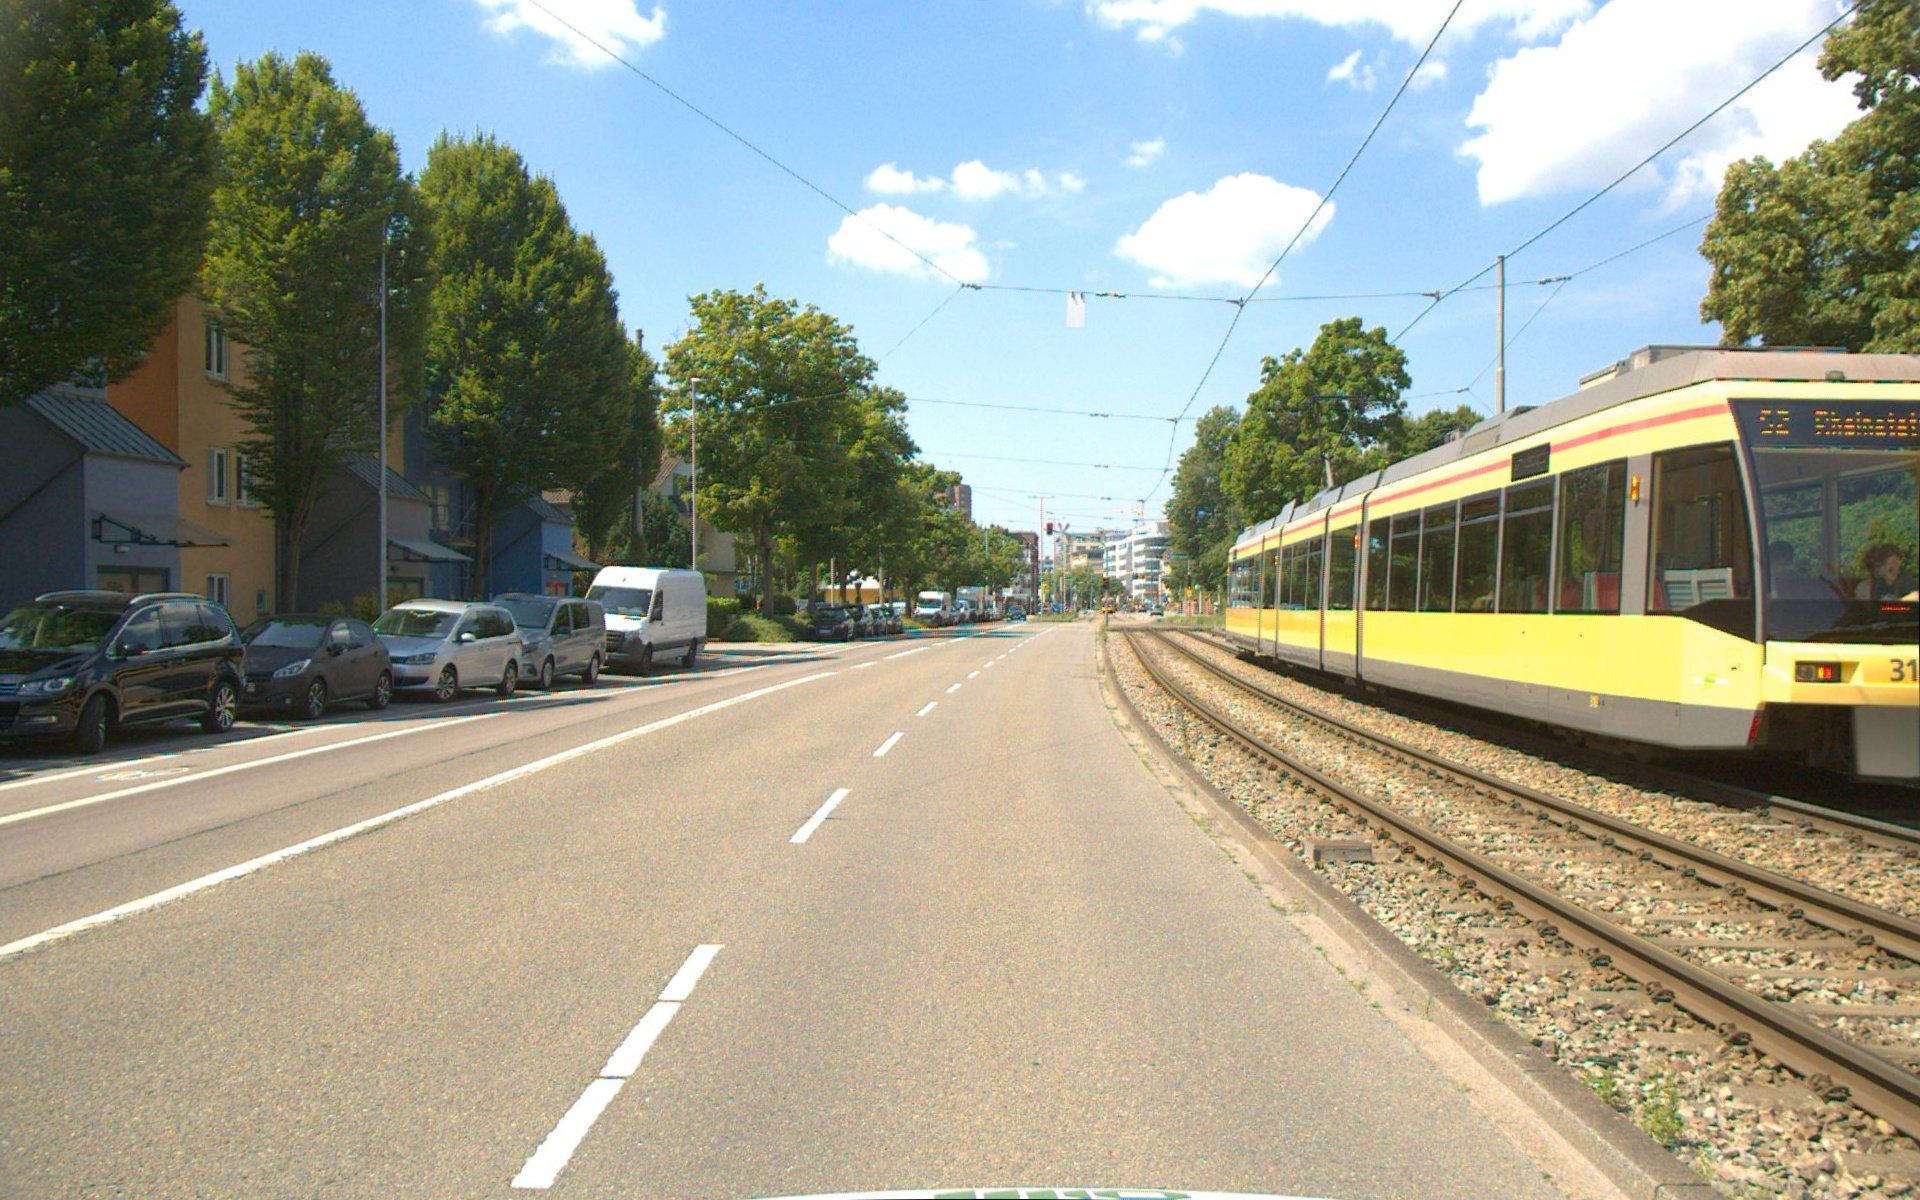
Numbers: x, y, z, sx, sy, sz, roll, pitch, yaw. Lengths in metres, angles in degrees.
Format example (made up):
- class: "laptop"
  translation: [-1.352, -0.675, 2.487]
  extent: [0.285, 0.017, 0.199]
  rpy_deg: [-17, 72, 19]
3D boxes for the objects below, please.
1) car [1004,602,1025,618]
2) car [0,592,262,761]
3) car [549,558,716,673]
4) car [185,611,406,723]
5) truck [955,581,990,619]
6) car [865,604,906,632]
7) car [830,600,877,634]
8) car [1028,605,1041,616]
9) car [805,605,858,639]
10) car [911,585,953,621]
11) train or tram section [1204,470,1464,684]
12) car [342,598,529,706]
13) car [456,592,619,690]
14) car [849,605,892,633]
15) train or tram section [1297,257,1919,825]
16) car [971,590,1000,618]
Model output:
- class: "car"
  translation: [5.041, 0.913, 153.268]
  extent: [1.737, 1.485, 4.197]
  rpy_deg: [-2, 0, 3]
- class: "car"
  translation: [-10.241, 0.787, 19.606]
  extent: [1.714, 1.746, 4.889]
  rpy_deg: [-1, 0, 2]
- class: "car"
  translation: [-8.585, 0.367, 44.227]
  extent: [2.275, 2.697, 7.039]
  rpy_deg: [4, 0, 6]
- class: "car"
  translation: [-9.947, 0.951, 25.093]
  extent: [1.565, 1.497, 4.089]
  rpy_deg: [-1, 0, 2]
- class: "truck"
  translation: [1.170, 0.017, 150.255]
  extent: [2.111, 3.266, 7.087]
  rpy_deg: [3, 0, 7]
- class: "car"
  translation: [-4.141, 1.006, 92.569]
  extent: [1.737, 1.506, 4.050]
  rpy_deg: [1, 0, 5]
- class: "car"
  translation: [-5.286, 0.809, 82.406]
  extent: [1.737, 1.632, 4.639]
  rpy_deg: [1, 0, 4]
- class: "car"
  translation: [10.180, 1.458, 226.735]
  extent: [1.643, 1.422, 4.007]
  rpy_deg: [-2, 0, 3]
- class: "car"
  translation: [-5.754, 0.965, 74.543]
  extent: [1.737, 1.481, 4.806]
  rpy_deg: [0, 0, 4]
- class: "car"
  translation: [-2.001, 0.231, 122.266]
  extent: [2.111, 2.530, 6.197]
  rpy_deg: [3, 0, 7]
- class: "train or tram section"
  translation: [8.094, -0.431, 39.386]
  extent: [2.882, 3.756, 20.293]
  rpy_deg: [1, 0, 4]
- class: "car"
  translation: [-9.437, 0.865, 30.192]
  extent: [1.681, 1.783, 4.905]
  rpy_deg: [-1, 0, 2]
- class: "car"
  translation: [-9.027, 0.811, 35.828]
  extent: [1.768, 1.928, 5.365]
  rpy_deg: [-1, 0, 4]
- class: "car"
  translation: [-4.725, 0.986, 87.713]
  extent: [1.737, 1.397, 4.699]
  rpy_deg: [2, 0, 4]
- class: "train or tram section"
  translation: [7.011, -0.402, 20.126]
  extent: [2.882, 3.756, 18.395]
  rpy_deg: [1, 0, 3]
- class: "car"
  translation: [2.571, 0.377, 165.011]
  extent: [2.111, 2.685, 5.615]
  rpy_deg: [3, 0, 7]
